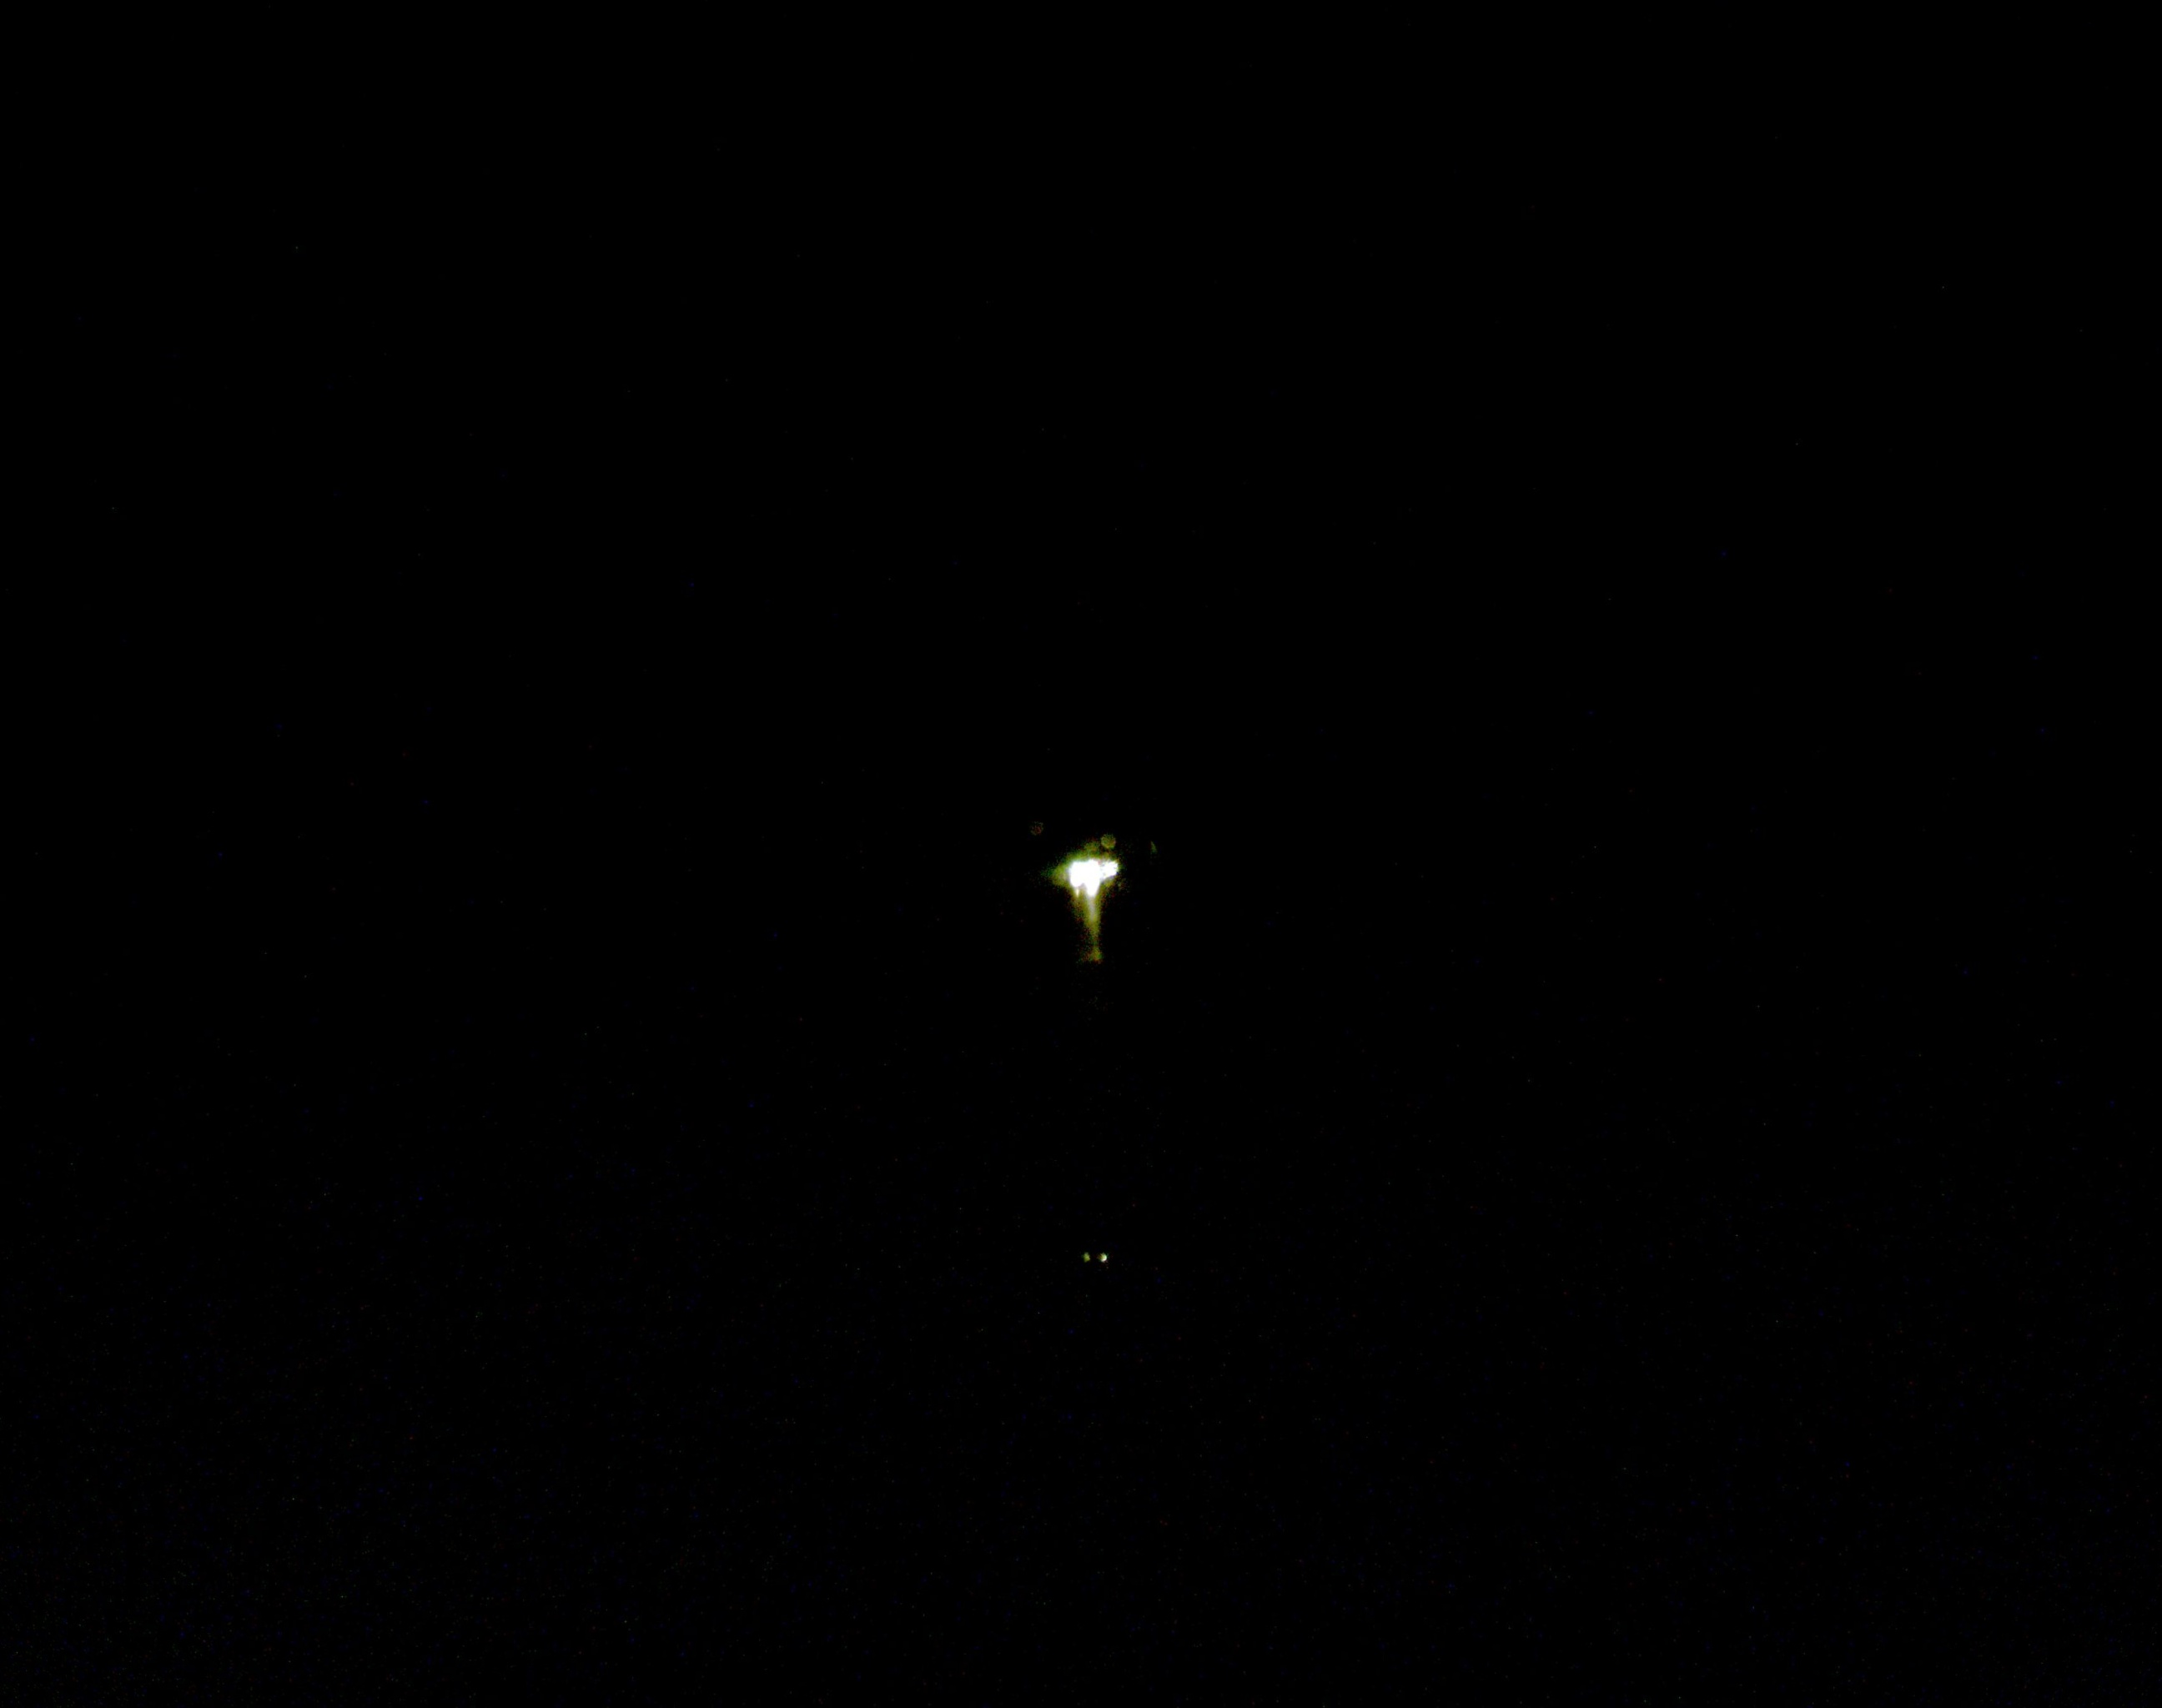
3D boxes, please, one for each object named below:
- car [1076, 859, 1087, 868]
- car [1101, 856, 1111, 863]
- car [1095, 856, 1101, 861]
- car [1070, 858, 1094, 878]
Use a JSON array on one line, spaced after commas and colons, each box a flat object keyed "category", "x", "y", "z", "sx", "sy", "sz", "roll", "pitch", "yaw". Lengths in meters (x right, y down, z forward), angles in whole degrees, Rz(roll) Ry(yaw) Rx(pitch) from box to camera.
[{"category": "car", "x": 0.091, "y": 1.727, "z": 140.447, "sx": 1.998, "sy": 1.575, "sz": 4.000, "roll": -2, "pitch": 0, "yaw": 0}, {"category": "car", "x": 5.752, "y": 1.252, "z": 173.023, "sx": 1.999, "sy": 1.566, "sz": 4.661, "roll": -2, "pitch": 0, "yaw": 0}, {"category": "car", "x": 5.653, "y": 1.365, "z": 251.406, "sx": 1.814, "sy": 1.612, "sz": 3.999, "roll": -2, "pitch": 0, "yaw": -3}, {"category": "car", "x": 0.109, "y": 1.181, "z": 66.213, "sx": 1.998, "sy": 1.575, "sz": 4.000, "roll": -2, "pitch": 0, "yaw": 0}]
